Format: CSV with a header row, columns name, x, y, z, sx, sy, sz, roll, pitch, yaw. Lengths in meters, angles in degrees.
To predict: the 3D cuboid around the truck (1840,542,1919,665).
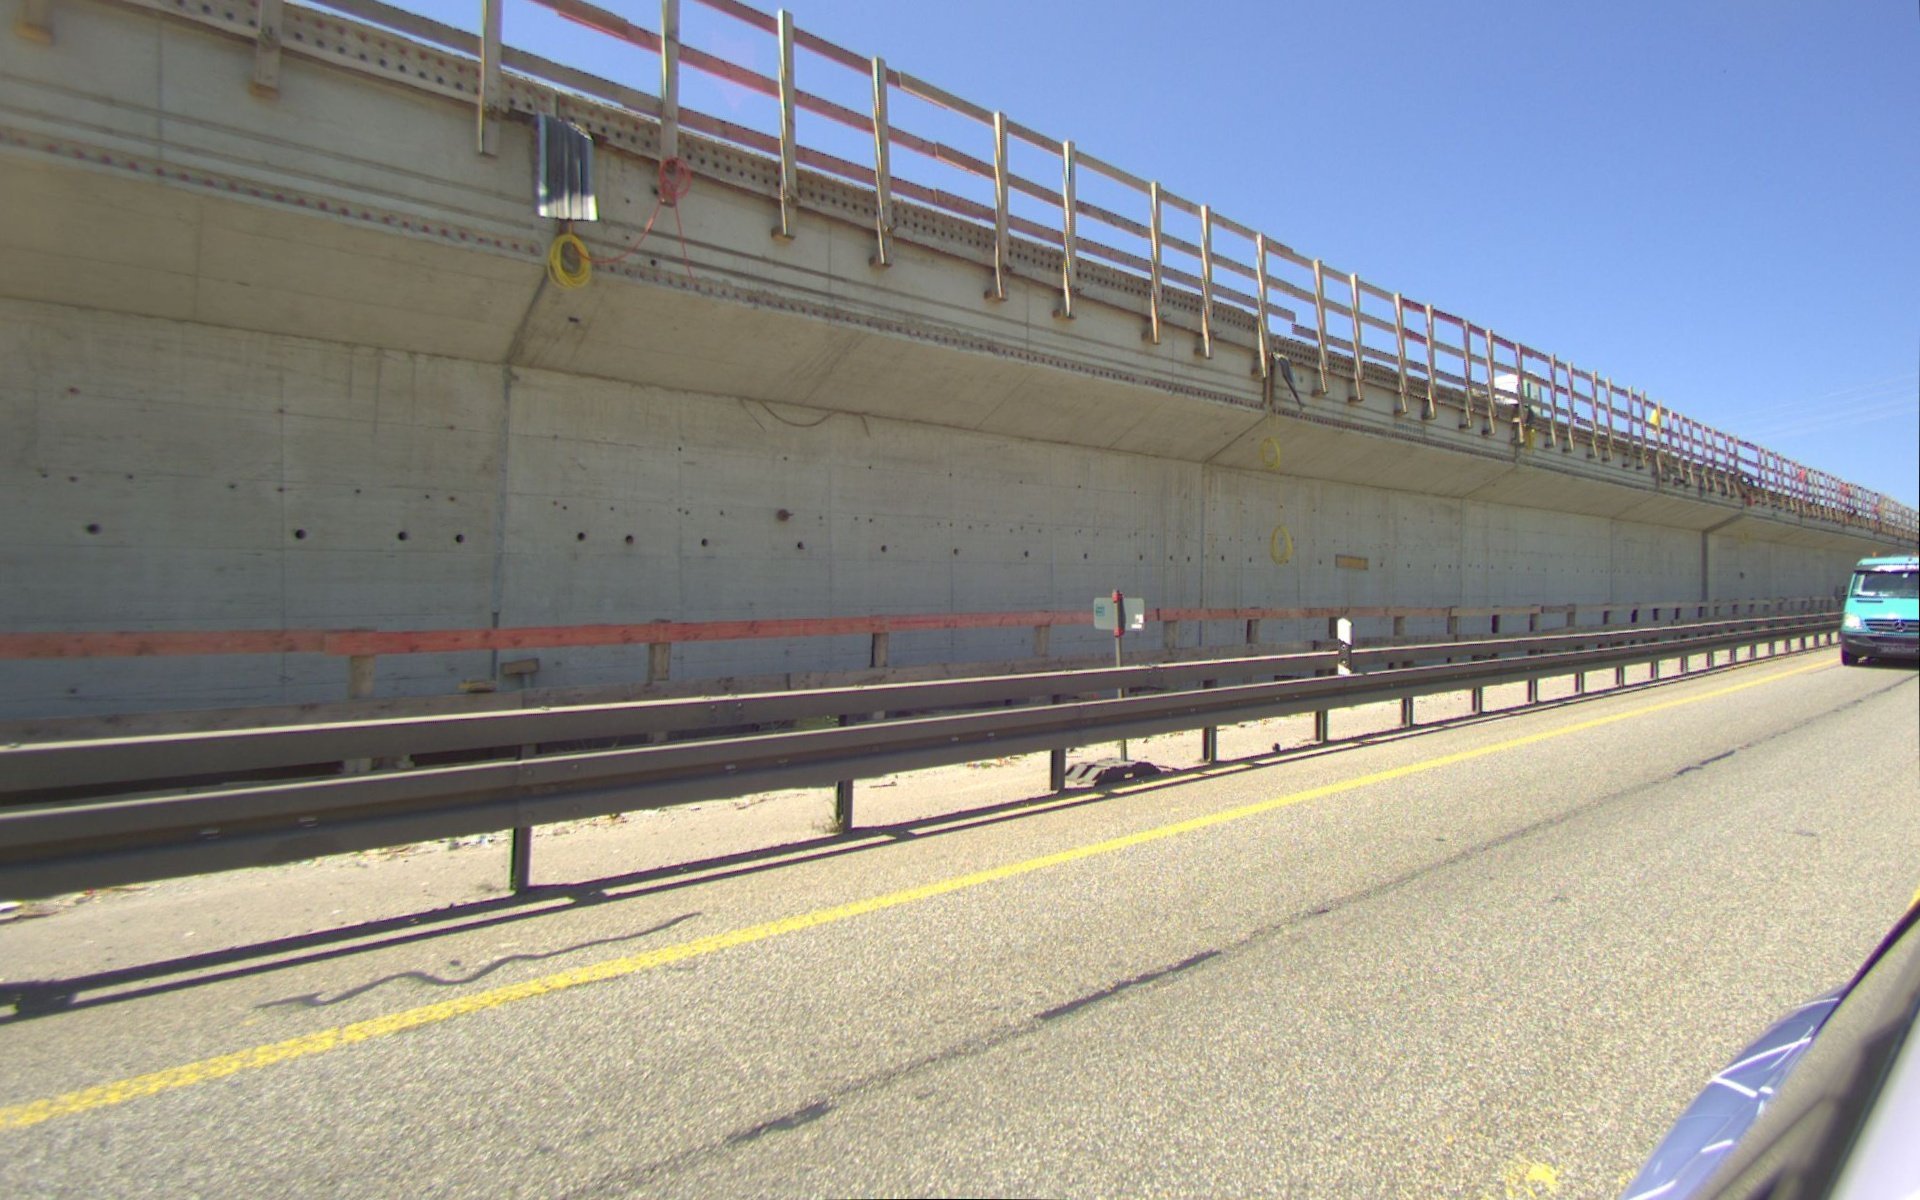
name,x,y,z,sx,sy,sz,roll,pitch,yaw
truck,21.381,-0.025,22.179,7.304,2.386,2.138,-2,2,-41
